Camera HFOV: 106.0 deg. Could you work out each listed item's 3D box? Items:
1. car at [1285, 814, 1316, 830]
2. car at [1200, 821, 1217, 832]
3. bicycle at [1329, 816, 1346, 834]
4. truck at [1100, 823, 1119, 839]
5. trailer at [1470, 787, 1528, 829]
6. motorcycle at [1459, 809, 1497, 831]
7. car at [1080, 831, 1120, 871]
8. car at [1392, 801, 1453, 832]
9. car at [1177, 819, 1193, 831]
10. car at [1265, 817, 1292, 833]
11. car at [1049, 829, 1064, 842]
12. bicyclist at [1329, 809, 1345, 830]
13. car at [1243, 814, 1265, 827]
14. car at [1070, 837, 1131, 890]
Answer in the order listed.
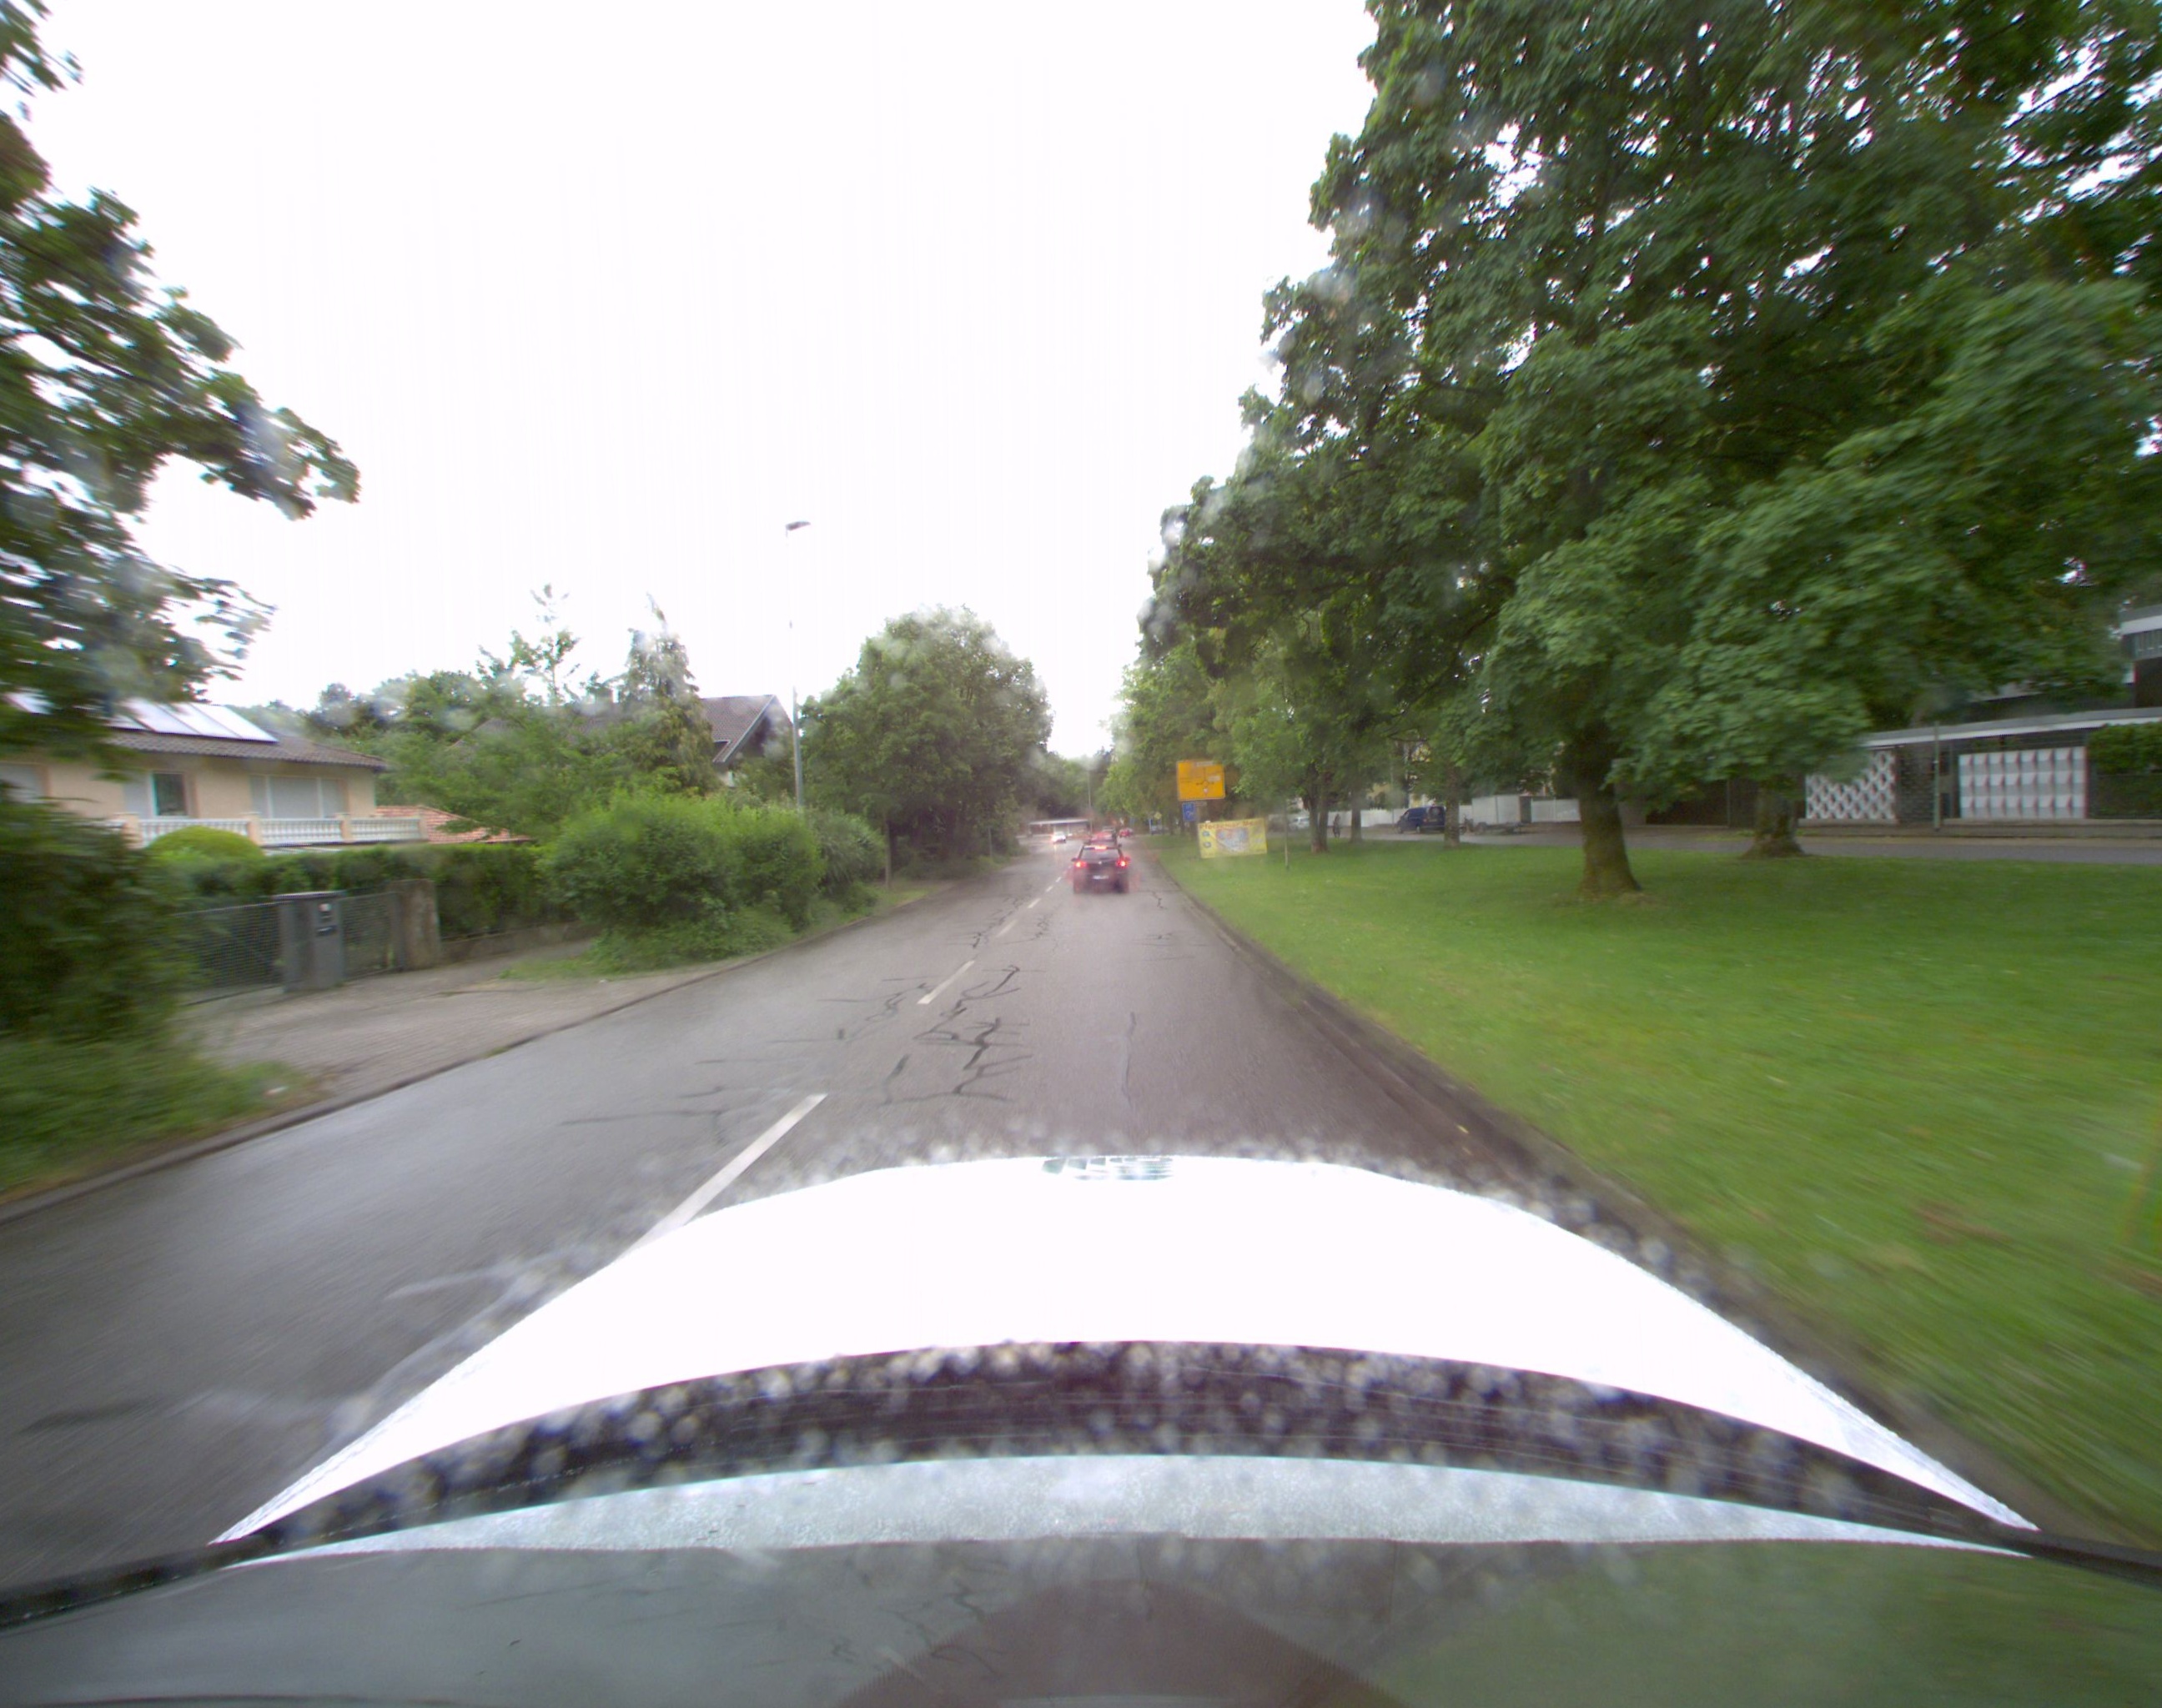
[{"bbox_3d":[21.574,-3.186,80.172,1.612,1.409,4.006,-5,3,-3],"label":"car"},{"bbox_3d":[17.695,-3.815,113.072,1.796,1.405,4.003,-5,2,2],"label":"car"},{"bbox_3d":[17.438,-1.976,55.399,0.593,1.138,1.865,-3,1,2],"label":"bicycle"},{"bbox_3d":[3.917,-3.242,112.888,2.408,2.004,5.152,-4,2,1],"label":"truck"},{"bbox_3d":[22.732,-2.467,44.412,1.433,2.154,2.947,-4,2,-3],"label":"trailer"},{"bbox_3d":[22.773,-1.949,46.713,1.869,1.092,0.662,-3,3,21],"label":"motorcycle"},{"bbox_3d":[1.014,-0.211,41.601,1.848,1.784,4.003,-3,2,2],"label":"car"},{"bbox_3d":[22.541,-2.534,53.886,1.936,1.808,4.648,-5,3,-1],"label":"car"},{"bbox_3d":[14.377,-4.049,112.863,1.796,1.385,4.003,-5,2,2],"label":"car"},{"bbox_3d":[21.236,-3.151,87.737,1.796,1.529,4.112,-5,3,-1],"label":"car"},{"bbox_3d":[-3.311,-2.594,112.441,1.757,1.614,4.142,-4,2,1],"label":"car"},{"bbox_3d":[17.417,-2.326,55.372,0.742,1.390,1.000,-3,1,2],"label":"bicyclist"},{"bbox_3d":[21.227,-4.103,100.060,1.796,1.411,4.112,-5,3,-1],"label":"car"},{"bbox_3d":[0.661,0.252,26.301,1.792,1.515,3.756,-1,2,2],"label":"car"}]
